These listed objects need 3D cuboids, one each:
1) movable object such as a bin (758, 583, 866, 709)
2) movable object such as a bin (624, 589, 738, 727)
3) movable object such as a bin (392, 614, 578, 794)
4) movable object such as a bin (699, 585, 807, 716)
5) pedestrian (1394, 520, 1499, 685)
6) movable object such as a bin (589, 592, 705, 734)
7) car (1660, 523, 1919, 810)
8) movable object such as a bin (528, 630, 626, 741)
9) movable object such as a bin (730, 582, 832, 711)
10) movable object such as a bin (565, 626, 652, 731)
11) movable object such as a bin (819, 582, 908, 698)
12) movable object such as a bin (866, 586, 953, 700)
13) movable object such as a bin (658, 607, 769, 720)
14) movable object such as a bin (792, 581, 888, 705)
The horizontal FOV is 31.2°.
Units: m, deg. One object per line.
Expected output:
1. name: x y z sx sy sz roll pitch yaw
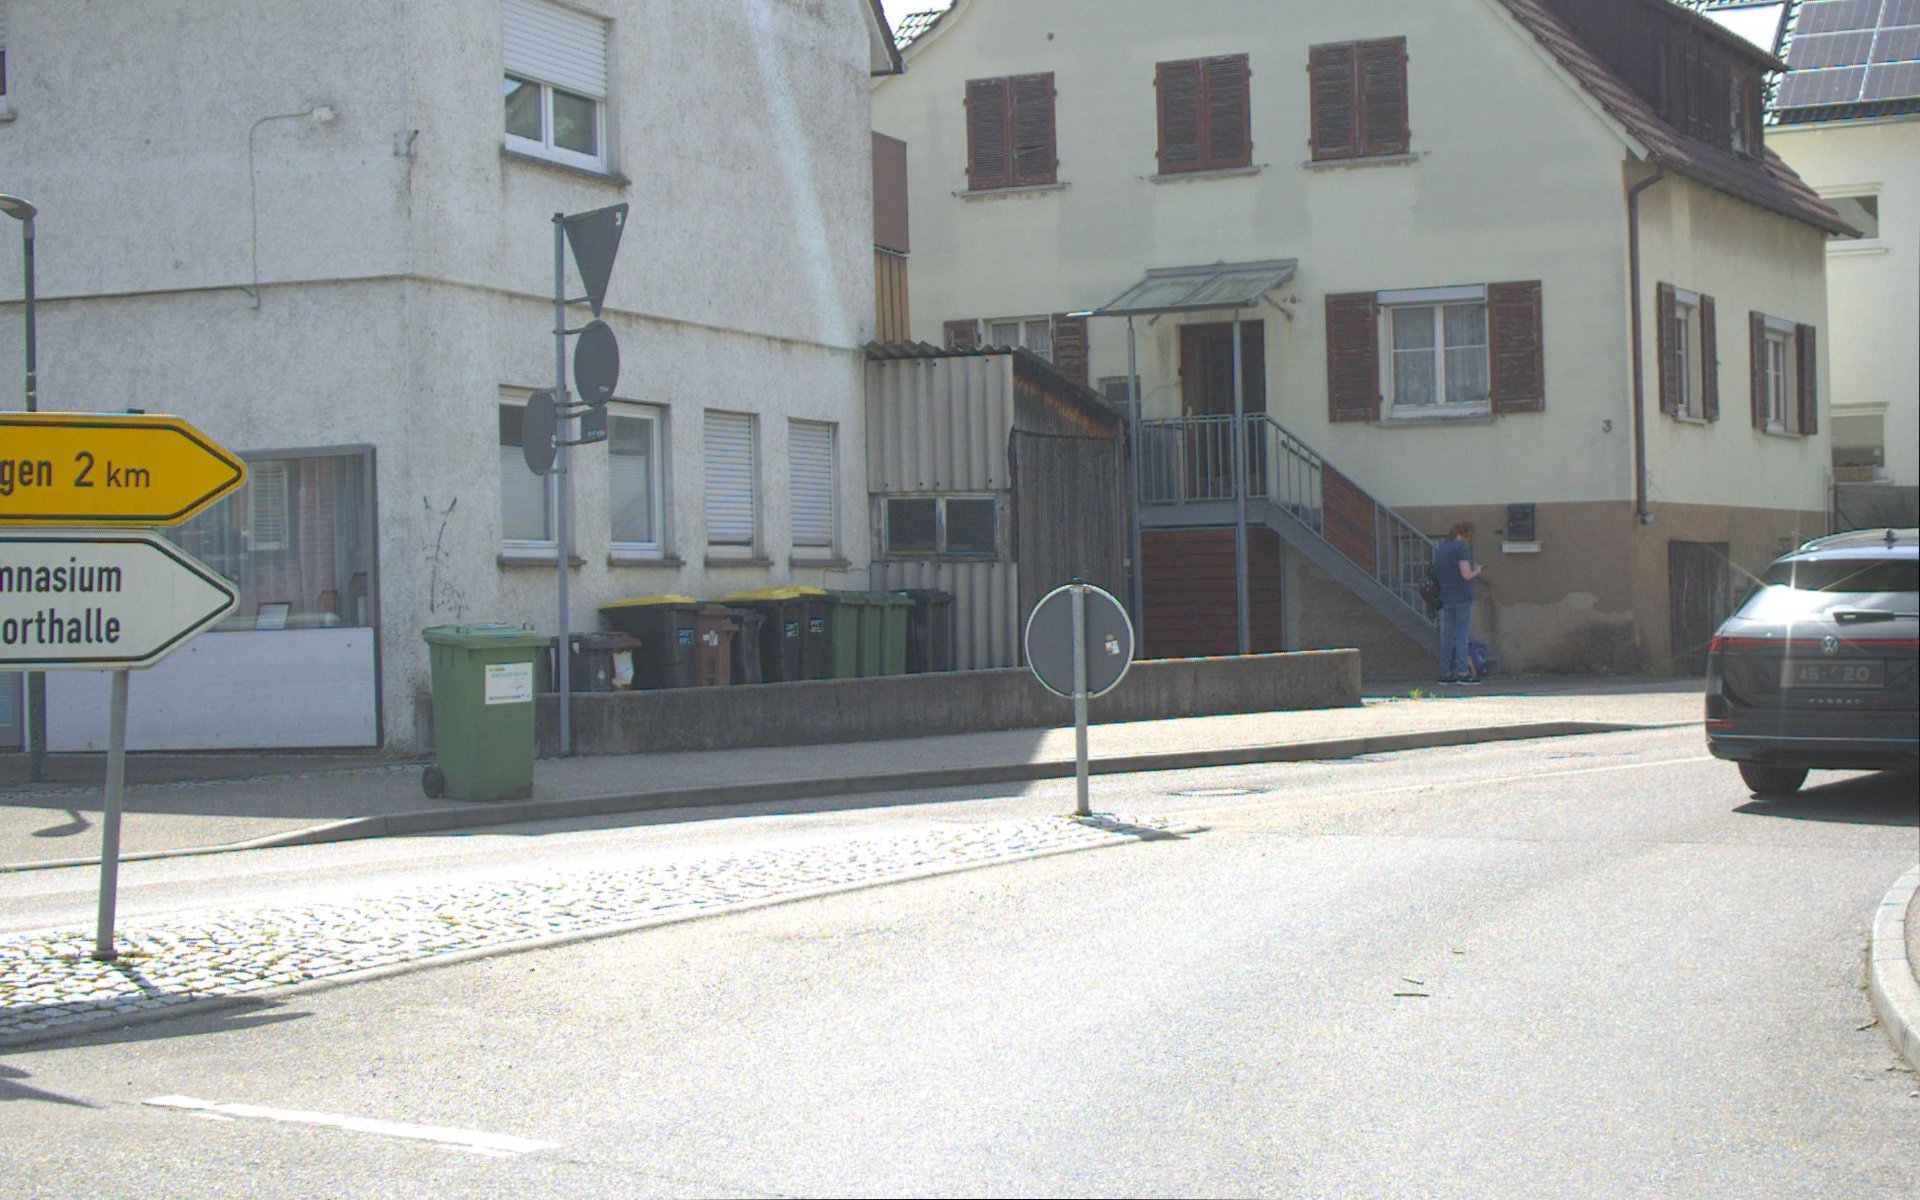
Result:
1. movable object such as a bin: -1.293 0.399 30.065 0.739 1.078 0.660 -1 1 18
2. movable object such as a bin: -2.241 0.462 27.654 0.683 1.082 0.698 -1 1 18
3. movable object such as a bin: -2.918 0.622 21.119 0.824 1.041 0.811 -2 2 -35
4. movable object such as a bin: -1.746 0.423 29.013 0.683 1.078 0.698 -1 1 18
5. pedestrian: 4.725 0.023 33.398 0.778 1.568 0.626 0 1 36
6. movable object such as a bin: -2.455 0.490 26.987 0.683 1.082 0.644 -1 1 18
7. car: 5.856 0.278 19.524 1.845 1.415 4.672 0 2 37
8. movable object such as a bin: -2.884 0.637 25.902 0.485 0.802 0.646 -1 1 20
9. movable object such as a bin: -1.537 0.399 29.619 0.683 1.078 0.625 -1 1 18
10. movable object such as a bin: -2.703 0.600 26.456 0.485 0.778 0.527 -1 1 18
11. movable object such as a bin: -0.874 0.358 31.345 0.628 1.031 0.603 -1 1 18
12. movable object such as a bin: -0.466 0.398 31.904 0.629 1.030 0.612 -1 1 18
13. movable object such as a bin: -2.027 0.519 28.348 0.683 0.893 0.698 -1 1 18
14. movable object such as a bin: -1.072 0.380 30.684 0.679 1.078 0.583 -1 1 18
